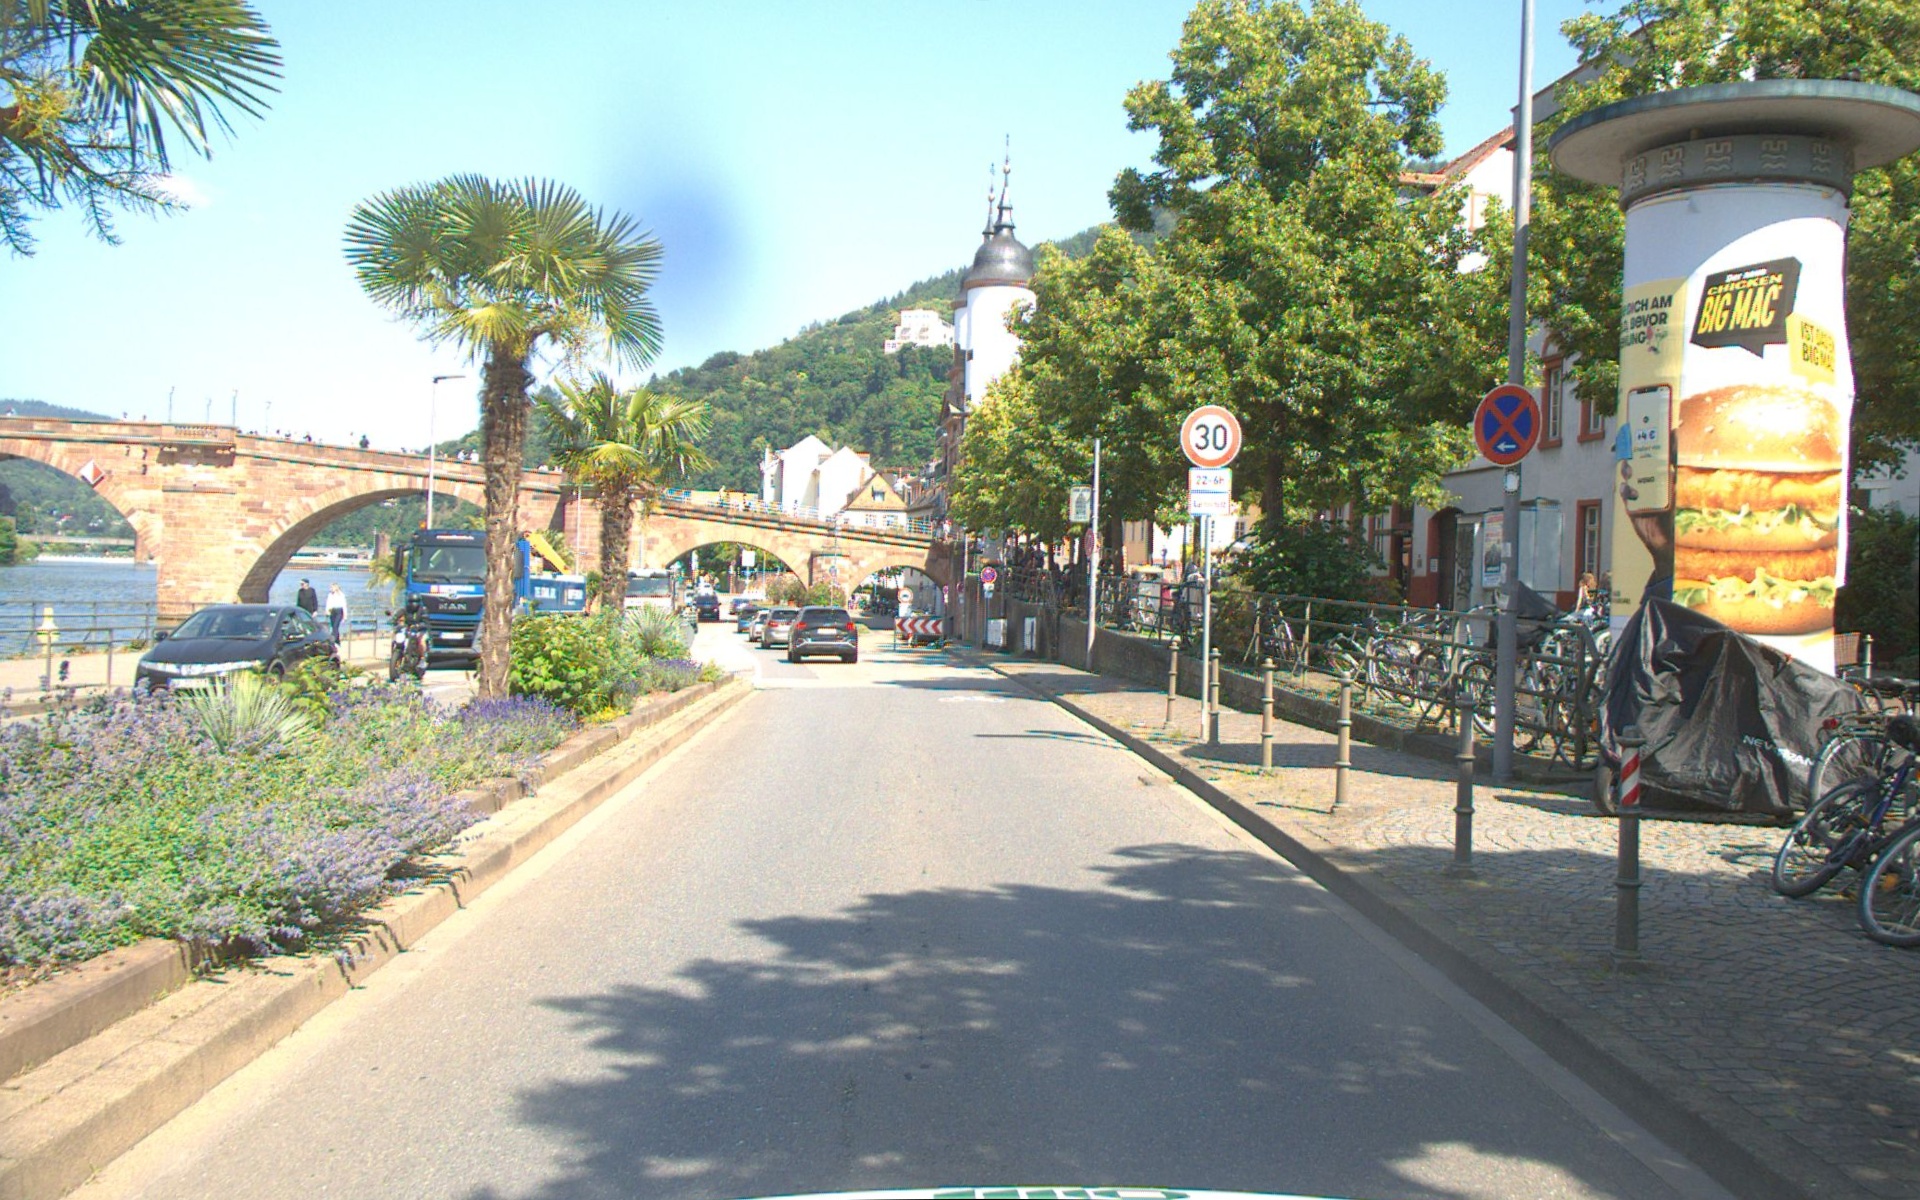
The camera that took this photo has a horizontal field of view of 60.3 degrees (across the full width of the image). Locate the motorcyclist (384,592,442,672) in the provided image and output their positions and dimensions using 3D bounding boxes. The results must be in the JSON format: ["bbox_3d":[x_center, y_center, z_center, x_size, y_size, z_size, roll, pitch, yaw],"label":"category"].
[{"bbox_3d":[-10.442,0.600,31.617,0.720,1.496,1.011,2,0,0],"label":"motorcyclist"}]

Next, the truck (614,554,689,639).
[{"bbox_3d":[-13.303,-0.175,71.721,2.606,3.462,5.130,2,0,-5],"label":"truck"}]

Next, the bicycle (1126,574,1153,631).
[{"bbox_3d":[3.619,0.042,33.401,0.270,1.115,1.488,-3,0,-3],"label":"bicycle"}]

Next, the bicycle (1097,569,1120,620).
[{"bbox_3d":[3.382,-0.128,37.725,0.245,1.115,1.488,3,0,-3],"label":"bicycle"}]

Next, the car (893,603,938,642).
[{"bbox_3d":[-1.996,0.986,74.565,1.683,1.624,3.896,2,1,3],"label":"car"}]

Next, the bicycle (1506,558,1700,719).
[{"bbox_3d":[6.211,0.368,15.976,1.790,1.509,0.269,1,0,-5],"label":"bicycle"}]

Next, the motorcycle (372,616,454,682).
[{"bbox_3d":[-10.449,0.909,31.675,0.742,1.151,2.455,2,1,0],"label":"motorcycle"}]

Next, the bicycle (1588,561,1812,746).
[{"bbox_3d":[6.215,0.445,13.901,1.790,1.509,0.269,1,0,-5],"label":"bicycle"}]

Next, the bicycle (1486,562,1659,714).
[{"bbox_3d":[6.232,0.386,16.839,1.673,1.509,0.269,1,0,-5],"label":"bicycle"}]

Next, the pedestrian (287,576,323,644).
[{"bbox_3d":[-17.914,0.274,45.245,0.748,1.811,0.694,2,0,-11],"label":"pedestrian"}]

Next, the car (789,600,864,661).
[{"bbox_3d":[-3.641,0.798,45.642,1.888,1.580,4.829,1,0,-3],"label":"car"}]

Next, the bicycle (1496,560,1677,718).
[{"bbox_3d":[6.158,0.380,16.260,1.688,1.509,0.269,1,0,-5],"label":"bicycle"}]

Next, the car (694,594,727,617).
[{"bbox_3d":[-19.175,0.414,127.119,1.954,1.580,4.830,2,1,-3],"label":"car"}]

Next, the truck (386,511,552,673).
[{"bbox_3d":[-11.288,-0.192,38.428,2.604,3.462,4.448,2,0,-3],"label":"truck"}]

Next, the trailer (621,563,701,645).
[{"bbox_3d":[-13.751,0.114,76.687,2.606,3.462,10.158,2,1,-5],"label":"trailer"}]

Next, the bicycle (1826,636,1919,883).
[{"bbox_3d":[4.936,0.745,7.992,1.456,1.139,0.250,-1,0,-8],"label":"bicycle"}]

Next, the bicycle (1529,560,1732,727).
[{"bbox_3d":[6.234,0.403,15.381,1.794,1.509,0.285,1,0,-5],"label":"bicycle"}]

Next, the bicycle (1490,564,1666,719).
[{"bbox_3d":[6.182,0.418,16.543,1.673,1.509,0.269,1,0,-5],"label":"bicycle"}]

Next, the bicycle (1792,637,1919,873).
[{"bbox_3d":[4.933,0.777,8.291,1.456,1.139,0.250,1,0,-8],"label":"bicycle"}]

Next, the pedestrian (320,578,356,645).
[{"bbox_3d":[-17.069,0.313,45.379,0.748,1.811,0.694,2,0,-11],"label":"pedestrian"}]

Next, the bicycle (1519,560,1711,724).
[{"bbox_3d":[6.221,0.400,15.718,1.739,1.509,0.269,1,0,-5],"label":"bicycle"}]

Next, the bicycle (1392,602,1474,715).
[{"bbox_3d":[4.573,0.545,16.066,0.245,1.028,1.487,1,0,-4],"label":"bicycle"}]

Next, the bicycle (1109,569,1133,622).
[{"bbox_3d":[3.476,-0.094,35.801,0.245,1.115,1.488,3,0,-3],"label":"bicycle"}]

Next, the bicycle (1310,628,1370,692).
[{"bbox_3d":[4.400,0.684,19.203,0.245,0.675,1.468,1,0,-4],"label":"bicycle"}]

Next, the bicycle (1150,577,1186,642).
[{"bbox_3d":[3.743,0.163,29.834,0.339,1.115,1.488,3,0,-3],"label":"bicycle"}]

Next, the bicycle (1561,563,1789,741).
[{"bbox_3d":[6.258,0.456,14.488,1.887,1.509,0.311,1,0,-5],"label":"bicycle"}]

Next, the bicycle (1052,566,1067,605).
[{"bbox_3d":[2.911,-0.411,48.420,0.348,1.115,1.489,3,0,3],"label":"bicycle"}]

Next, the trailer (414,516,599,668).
[{"bbox_3d":[-11.481,-0.234,42.792,2.604,3.462,8.822,2,1,-2],"label":"trailer"}]

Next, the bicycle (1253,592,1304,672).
[{"bbox_3d":[4.276,0.410,22.244,0.245,1.017,1.487,3,0,-4],"label":"bicycle"}]

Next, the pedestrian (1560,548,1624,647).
[{"bbox_3d":[12.727,-0.051,33.316,0.949,1.948,0.747,2,0,-2],"label":"pedestrian"}]

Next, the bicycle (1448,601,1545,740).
[{"bbox_3d":[4.694,0.592,14.530,0.245,1.139,1.487,1,0,-4],"label":"bicycle"}]

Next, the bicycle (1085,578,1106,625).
[{"bbox_3d":[3.252,0.030,39.810,0.245,1.115,1.488,3,0,-3],"label":"bicycle"}]

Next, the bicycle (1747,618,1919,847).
[{"bbox_3d":[4.849,0.691,8.604,1.456,1.152,0.250,1,0,-9],"label":"bicycle"}]

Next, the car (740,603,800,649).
[{"bbox_3d":[-7.474,0.996,65.458,1.954,1.580,4.830,2,1,-3],"label":"car"}]

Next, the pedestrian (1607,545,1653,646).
[{"bbox_3d":[13.929,-0.095,34.391,0.622,2.049,0.644,2,0,-2],"label":"pedestrian"}]

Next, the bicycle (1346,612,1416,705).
[{"bbox_3d":[4.480,0.606,17.652,0.245,0.920,1.487,1,0,-4],"label":"bicycle"}]

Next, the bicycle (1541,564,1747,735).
[{"bbox_3d":[6.231,0.448,15.078,1.790,1.509,0.269,1,0,-5],"label":"bicycle"}]

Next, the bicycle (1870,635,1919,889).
[{"bbox_3d":[4.997,0.727,7.717,1.456,1.139,0.250,-1,0,-8],"label":"bicycle"}]

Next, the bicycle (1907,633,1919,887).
[{"bbox_3d":[5.048,0.726,7.499,1.456,1.139,0.250,0,0,-8],"label":"bicycle"}]

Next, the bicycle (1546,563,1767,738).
[{"bbox_3d":[6.225,0.451,14.788,1.887,1.509,0.281,1,0,-5],"label":"bicycle"}]

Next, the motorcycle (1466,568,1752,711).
[{"bbox_3d":[6.904,0.395,17.769,2.773,1.422,0.826,1,0,17],"label":"motorcycle"}]

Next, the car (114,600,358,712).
[{"bbox_3d":[-10.187,0.752,23.634,1.914,1.437,4.214,0,-1,-5],"label":"car"}]

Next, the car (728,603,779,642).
[{"bbox_3d":[-9.655,1.026,77.532,1.954,1.580,4.830,2,1,-3],"label":"car"}]
